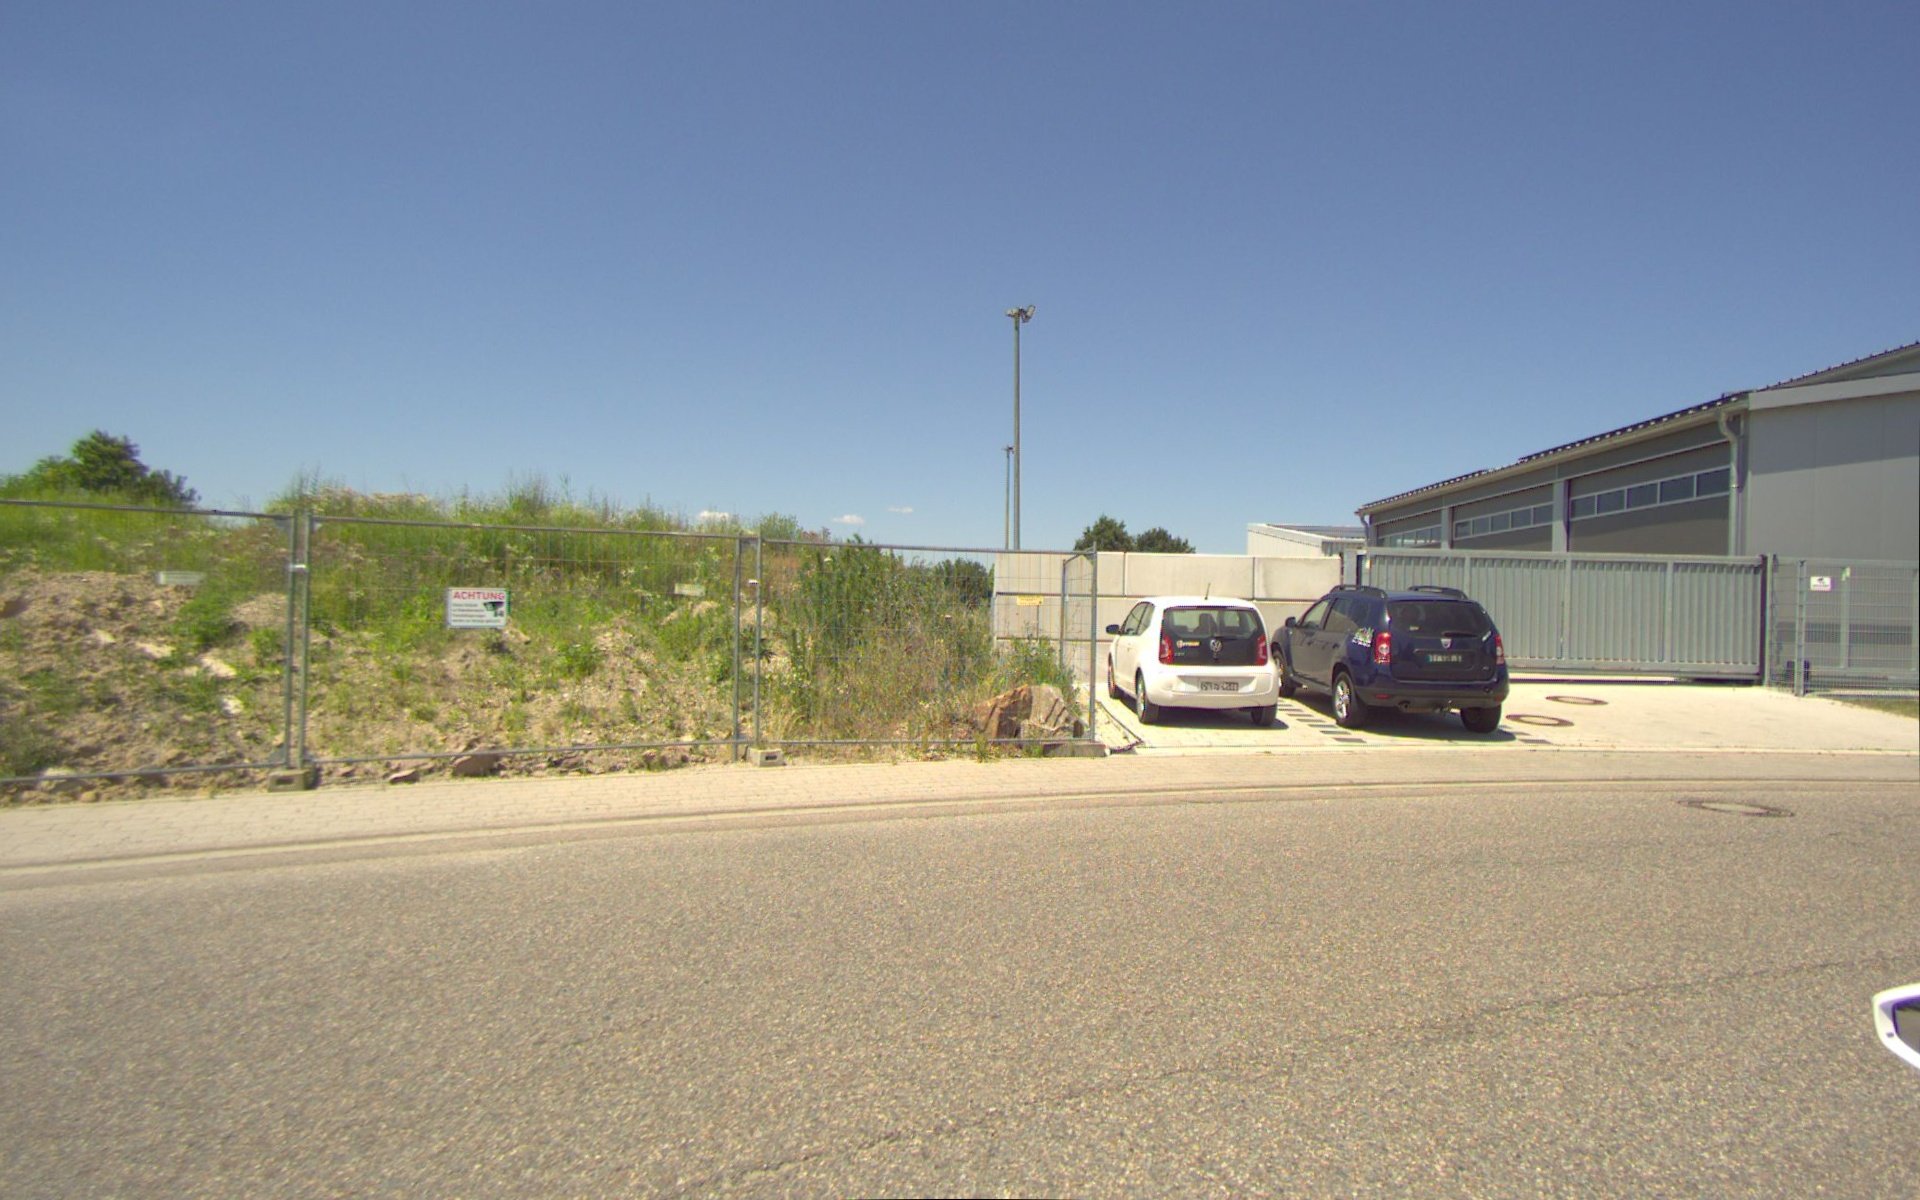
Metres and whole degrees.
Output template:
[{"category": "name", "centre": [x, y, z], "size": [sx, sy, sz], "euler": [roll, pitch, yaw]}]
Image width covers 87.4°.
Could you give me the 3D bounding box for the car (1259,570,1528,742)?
[{"category": "car", "centre": [5.383, 0.560, 13.151], "size": [1.746, 1.682, 4.175], "euler": [2, 4, 2]}]

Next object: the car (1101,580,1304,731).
[{"category": "car", "centre": [2.950, 0.597, 12.964], "size": [1.747, 1.482, 3.370], "euler": [2, 4, 0]}]
